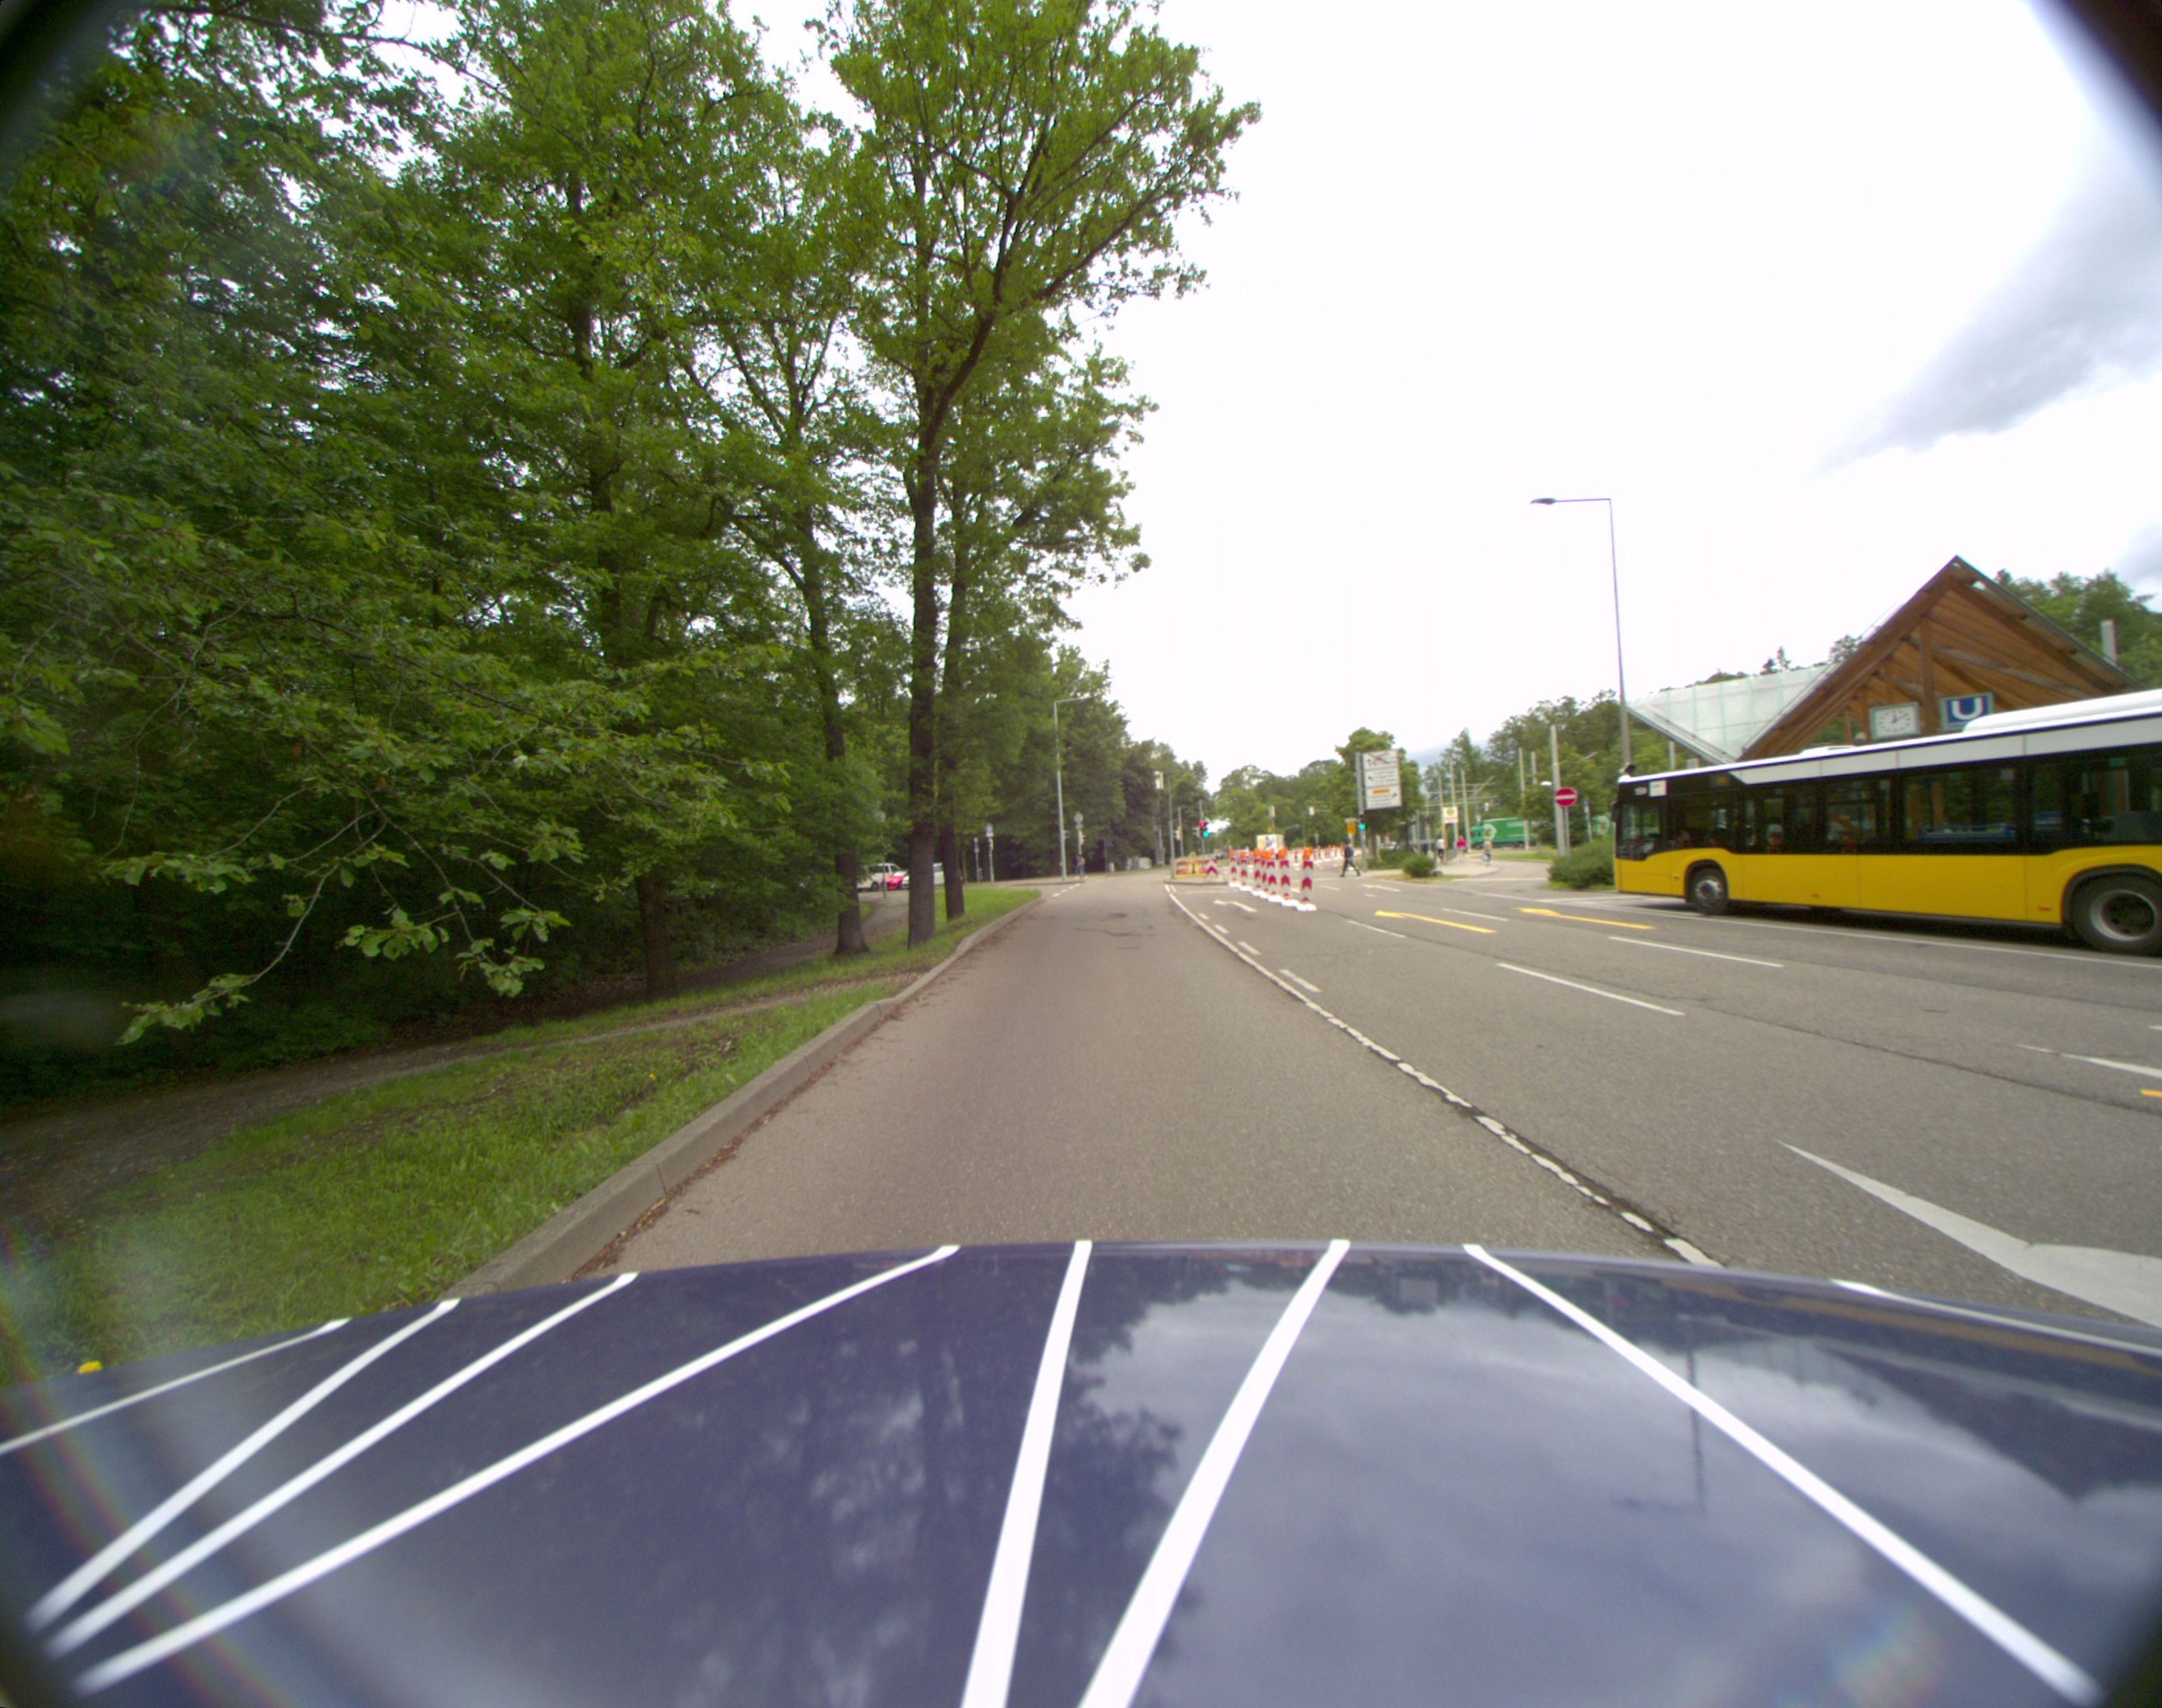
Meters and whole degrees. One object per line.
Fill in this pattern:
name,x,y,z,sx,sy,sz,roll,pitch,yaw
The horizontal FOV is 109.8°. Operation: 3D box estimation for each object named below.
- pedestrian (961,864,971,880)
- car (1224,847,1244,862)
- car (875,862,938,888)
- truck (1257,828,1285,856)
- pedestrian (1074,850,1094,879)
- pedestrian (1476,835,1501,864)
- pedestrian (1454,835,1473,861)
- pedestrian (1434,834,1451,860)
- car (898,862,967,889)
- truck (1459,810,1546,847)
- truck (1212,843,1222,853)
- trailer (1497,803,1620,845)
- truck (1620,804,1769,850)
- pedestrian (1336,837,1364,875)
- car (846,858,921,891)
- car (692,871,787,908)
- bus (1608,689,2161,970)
pedestrian,-12.751,1.999,84.161,0.833,1.641,1.035,-4,0,-2
car,15.993,0.043,79.515,1.811,1.500,4.310,-2,1,10
car,-12.296,1.470,53.810,1.890,1.543,4.007,-5,-1,35
truck,23.664,-1.480,94.446,2.631,3.219,6.215,-1,1,20
pedestrian,0.189,0.626,46.276,1.093,1.666,0.911,-3,1,2
pedestrian,22.182,-0.242,41.364,0.769,1.516,0.874,-4,0,-31
pedestrian,23.169,-0.367,46.019,0.791,1.542,0.776,-4,0,12
pedestrian,22.669,-0.460,47.693,0.775,1.537,0.629,-4,1,14
car,-10.197,1.446,52.508,1.995,1.543,4.429,-5,-1,35
truck,52.088,-3.083,94.138,3.792,3.858,8.758,-4,0,-22
truck,46.189,-2.054,257.460,2.745,3.192,6.677,-4,0,7
trailer,54.734,-3.344,87.696,3.792,3.858,11.850,-4,-1,-22
truck,35.709,-1.492,44.544,2.609,2.157,6.295,-4,-1,-17
pedestrian,13.295,0.115,37.572,0.992,1.798,0.768,-4,0,42
car,-14.351,1.457,55.533,2.058,1.946,5.191,-4,1,31
car,-20.855,2.128,46.636,1.995,1.867,4.958,-4,-1,30
bus,13.447,-0.341,12.424,2.906,3.109,9.759,-2,0,1
